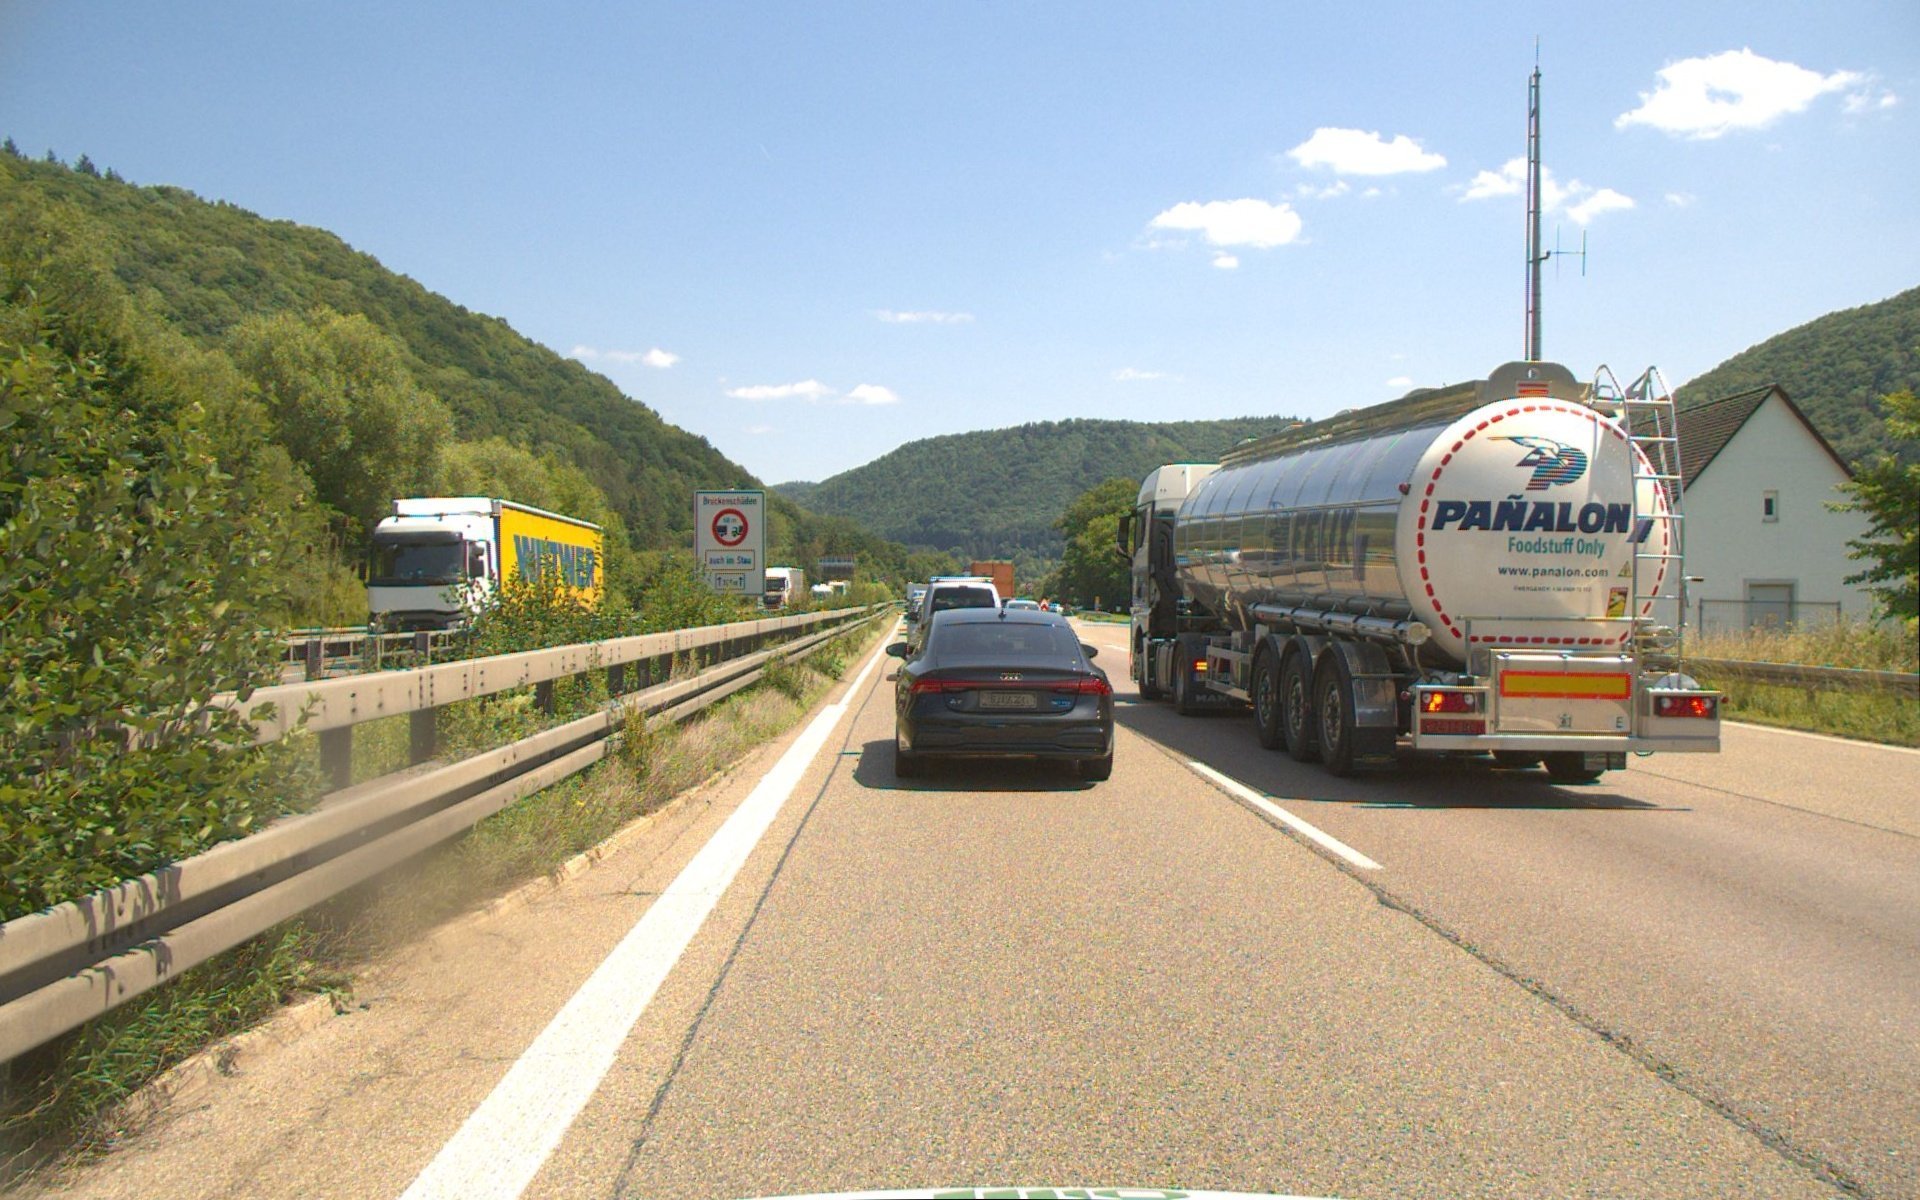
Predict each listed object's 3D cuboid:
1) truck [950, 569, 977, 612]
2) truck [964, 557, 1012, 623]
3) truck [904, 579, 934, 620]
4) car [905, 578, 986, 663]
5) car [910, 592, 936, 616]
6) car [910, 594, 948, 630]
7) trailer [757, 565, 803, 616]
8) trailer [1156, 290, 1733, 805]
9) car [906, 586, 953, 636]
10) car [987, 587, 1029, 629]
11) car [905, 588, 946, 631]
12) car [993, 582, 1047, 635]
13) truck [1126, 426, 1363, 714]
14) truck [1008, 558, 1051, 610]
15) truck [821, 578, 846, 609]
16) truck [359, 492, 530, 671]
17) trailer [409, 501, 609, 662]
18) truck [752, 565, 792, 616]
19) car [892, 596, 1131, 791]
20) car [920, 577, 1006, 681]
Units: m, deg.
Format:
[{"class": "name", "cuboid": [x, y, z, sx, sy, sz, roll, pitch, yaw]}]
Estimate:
[{"class": "truck", "cuboid": [0.230, -0.761, 140.026, 1.953, 3.507, 11.808, 1, 0, -1]}, {"class": "truck", "cuboid": [1.784, -0.607, 110.428, 2.760, 4.073, 14.952, 1, 0, -1]}, {"class": "truck", "cuboid": [-3.668, -0.051, 148.555, 2.575, 3.501, 11.418, 0, 0, -1]}, {"class": "car", "cuboid": [-0.405, 0.493, 42.096, 1.953, 2.049, 3.999, 1, 0, -2]}, {"class": "car", "cuboid": [-2.569, 0.287, 115.399, 1.677, 1.647, 4.000, 0, 0, 0]}, {"class": "car", "cuboid": [-1.418, 0.543, 76.687, 1.677, 1.647, 4.000, 0, 0, 0]}, {"class": "trailer", "cuboid": [-15.329, -0.787, 141.706, 2.726, 4.069, 14.155, 0, 0, -1]}, {"class": "trailer", "cuboid": [4.323, -0.385, 18.259, 2.487, 3.801, 11.886, 1, 0, -2]}, {"class": "car", "cuboid": [-1.321, 0.451, 70.490, 1.953, 2.049, 3.998, 0, 0, -2]}, {"class": "car", "cuboid": [2.337, 0.395, 81.768, 1.953, 2.038, 4.000, 0, 0, 0]}, {"class": "car", "cuboid": [-1.693, 0.444, 80.302, 1.953, 2.049, 3.998, 0, 0, -2]}, {"class": "car", "cuboid": [2.382, 0.332, 66.596, 1.953, 2.049, 3.999, 0, 0, -1]}, {"class": "truck", "cuboid": [4.079, -0.397, 24.775, 2.461, 3.824, 5.243, 1, 0, -2]}, {"class": "truck", "cuboid": [5.660, -1.251, 136.559, 2.760, 4.073, 14.952, 1, 0, -1]}, {"class": "truck", "cuboid": [-16.990, -0.830, 222.994, 2.811, 4.076, 10.167, 1, 0, -2]}, {"class": "truck", "cuboid": [-12.725, -0.431, 41.307, 2.496, 4.162, 5.849, 0, 0, -1]}, {"class": "trailer", "cuboid": [-12.807, -0.466, 48.369, 2.528, 4.075, 12.598, 1, 0, -1]}, {"class": "truck", "cuboid": [-15.158, -0.765, 133.832, 2.673, 4.071, 5.368, 0, 0, -1]}, {"class": "car", "cuboid": [0.326, 0.737, 14.993, 1.812, 1.514, 4.080, 1, 0, -3]}, {"class": "car", "cuboid": [0.013, 0.529, 32.079, 1.544, 1.865, 3.999, 1, 0, -2]}]
